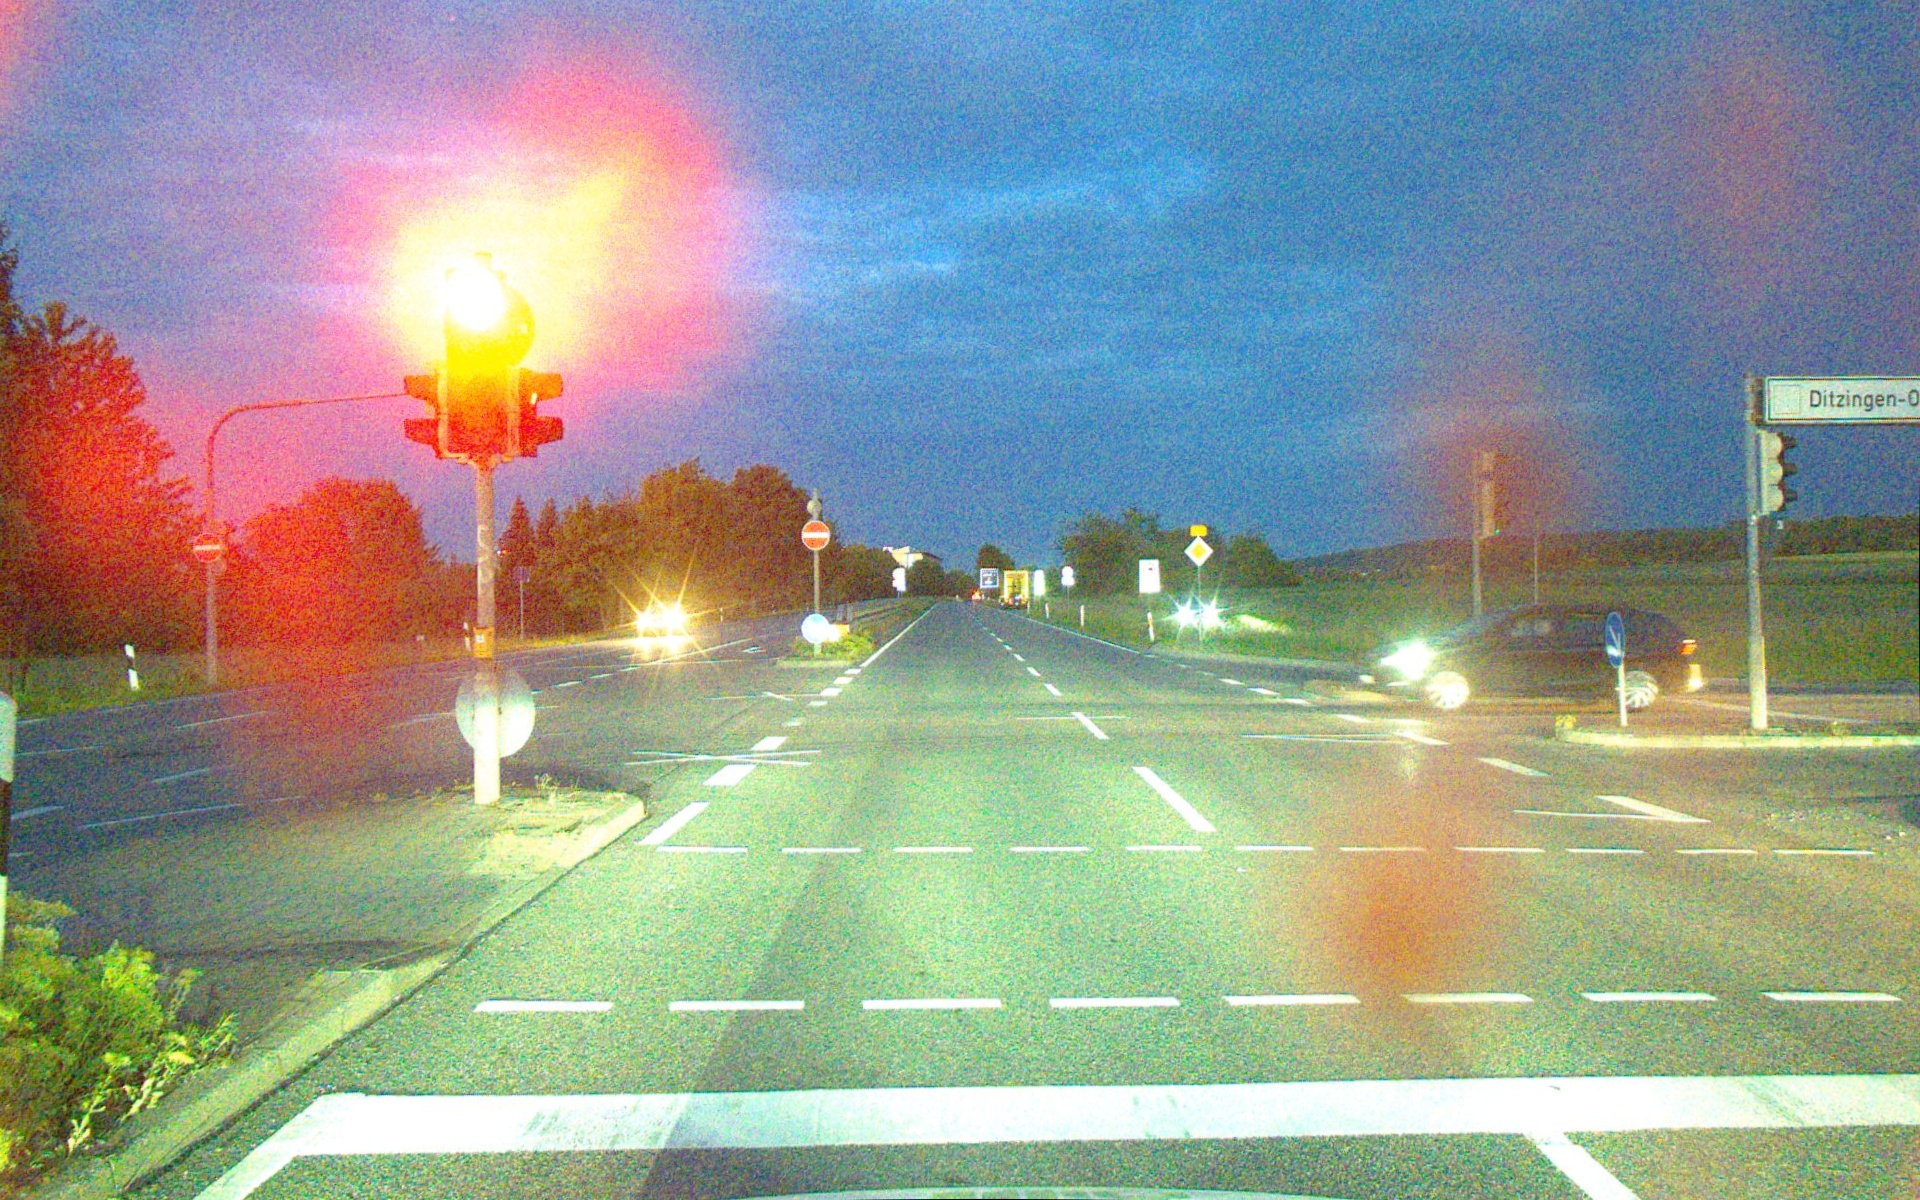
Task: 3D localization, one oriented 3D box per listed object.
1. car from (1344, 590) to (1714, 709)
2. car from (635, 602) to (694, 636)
[{"bbox_3d":[7.934,0.670,23.335,4.510,1.547,1.998,1,0,-4],"label":"car"},{"bbox_3d":[-13.082,0.824,73.437,1.953,1.411,3.999,-1,0,-1],"label":"car"}]
